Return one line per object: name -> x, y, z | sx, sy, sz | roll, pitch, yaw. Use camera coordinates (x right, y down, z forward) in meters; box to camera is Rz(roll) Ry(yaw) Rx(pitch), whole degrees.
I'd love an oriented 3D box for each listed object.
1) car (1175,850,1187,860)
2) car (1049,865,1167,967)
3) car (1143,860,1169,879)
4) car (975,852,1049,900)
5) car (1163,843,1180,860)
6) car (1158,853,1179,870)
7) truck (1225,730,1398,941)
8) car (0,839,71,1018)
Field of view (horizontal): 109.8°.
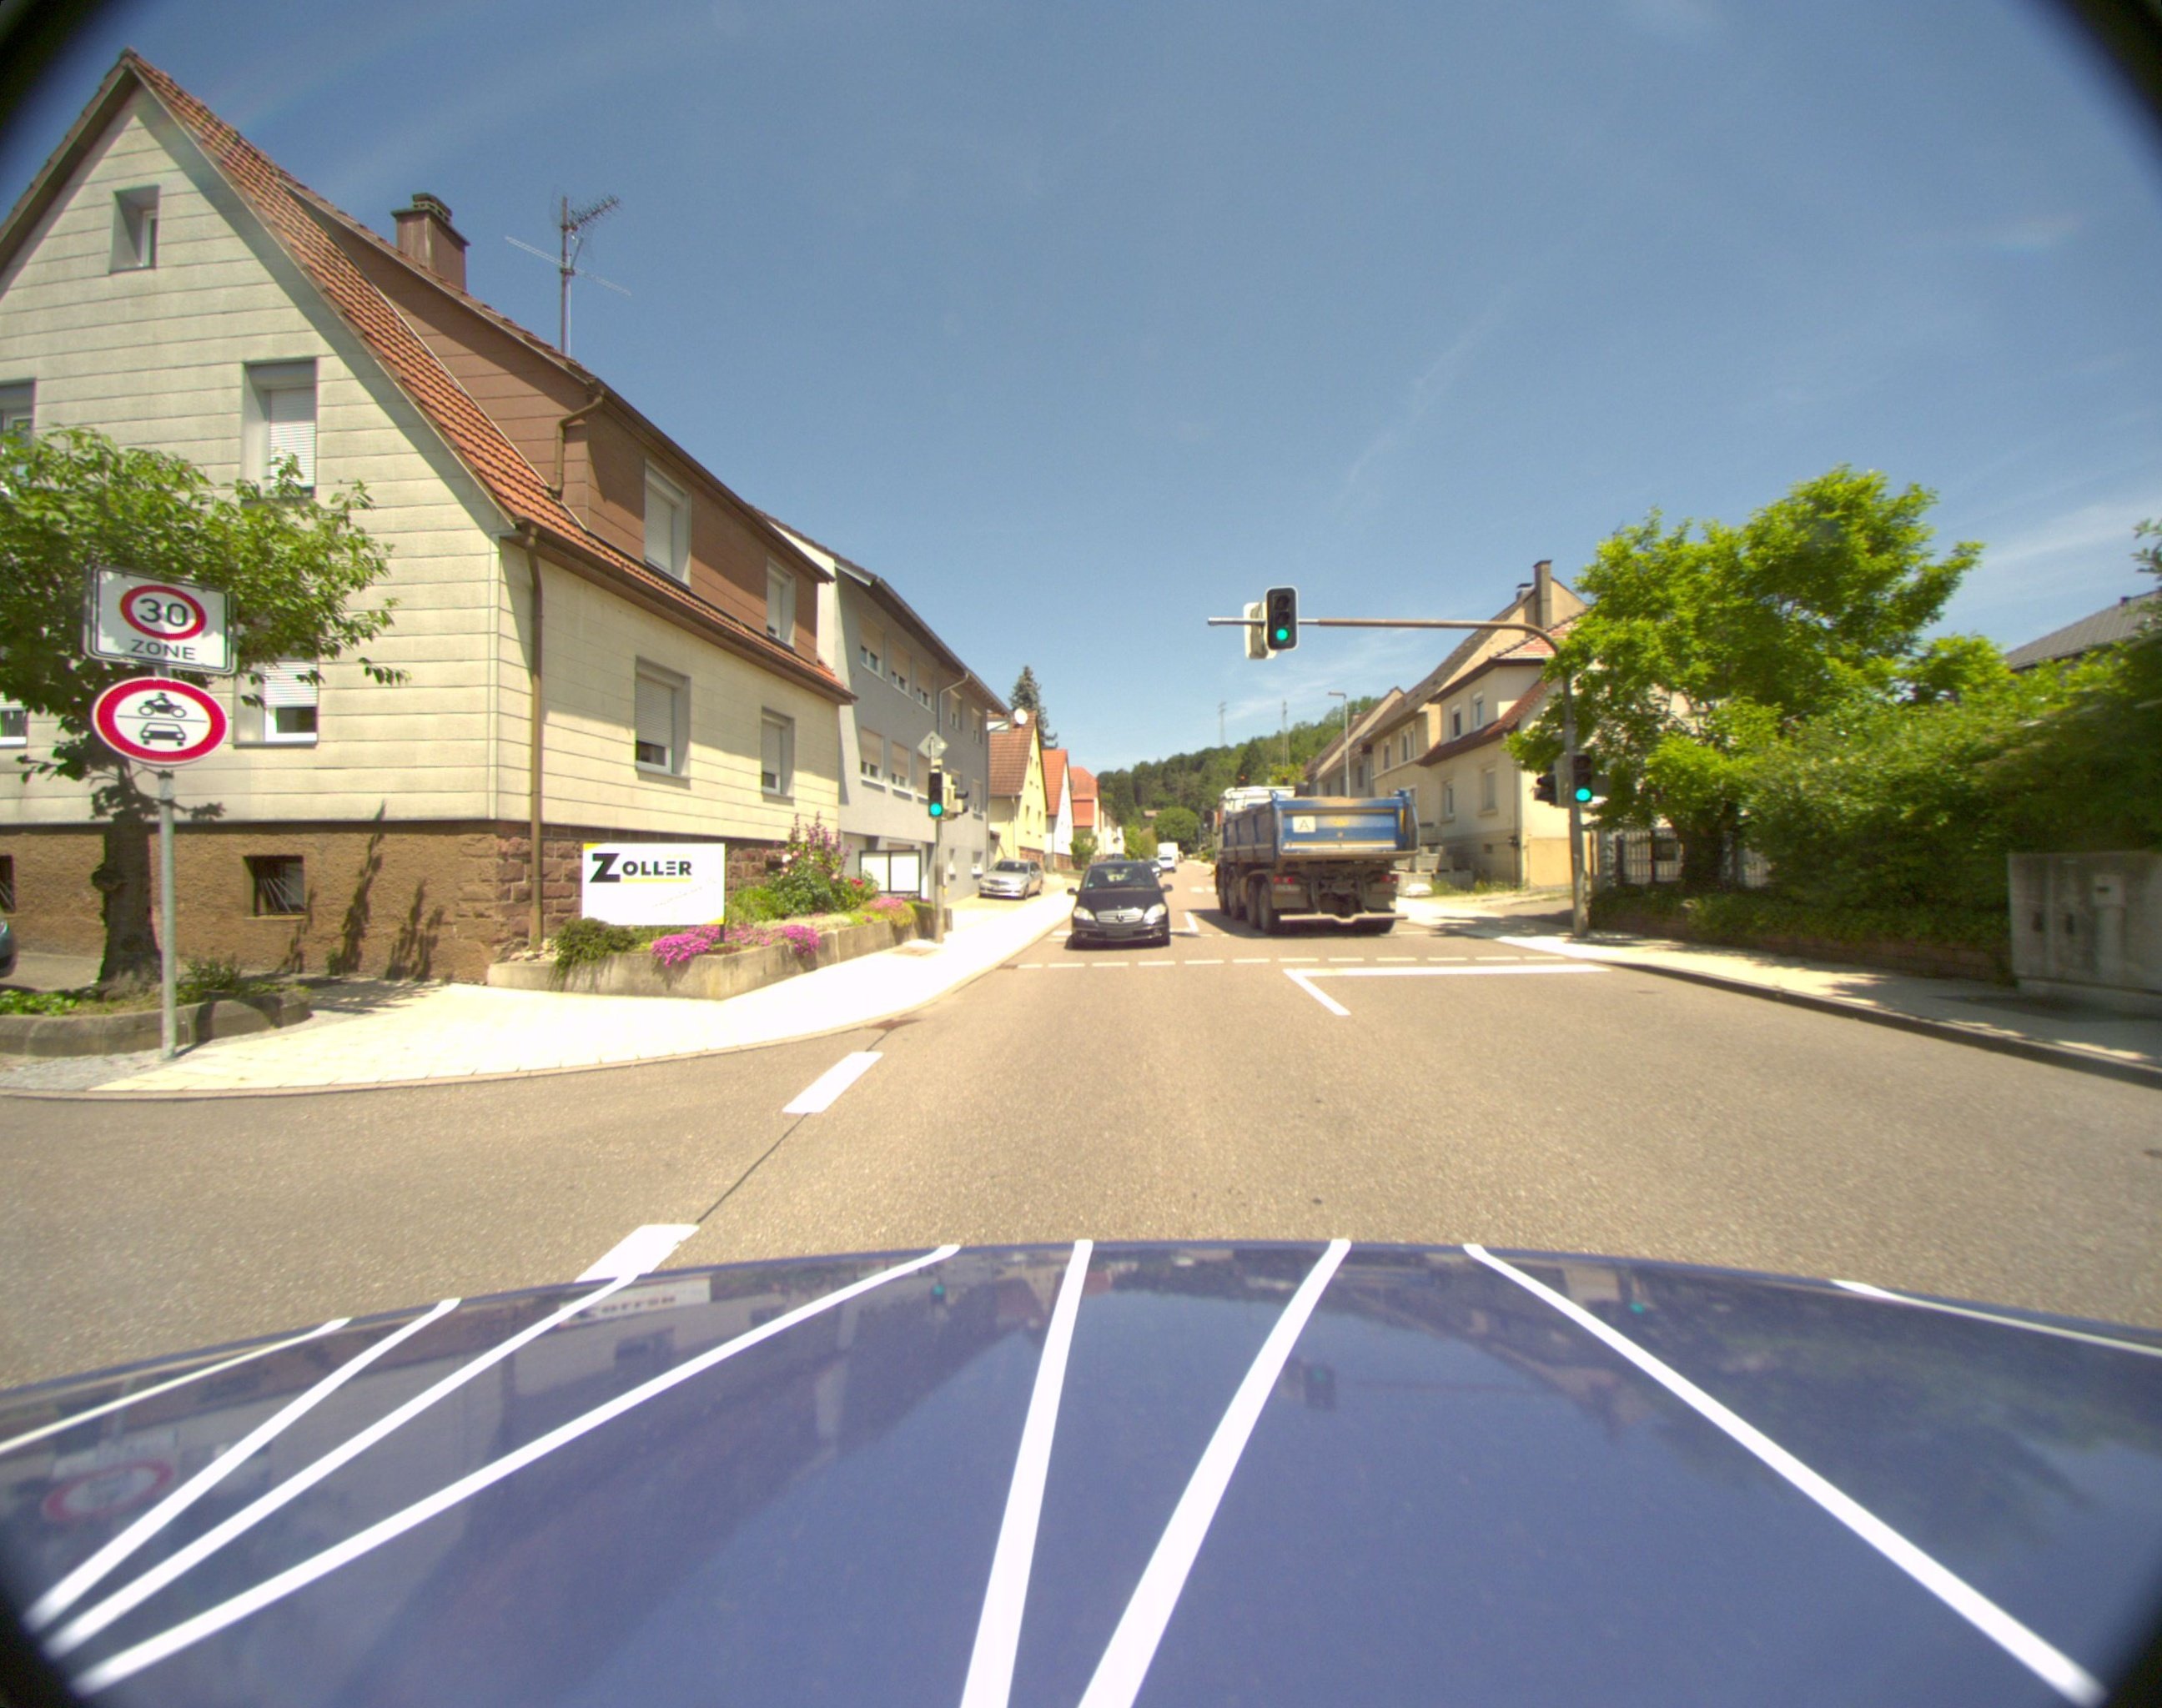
car -> 21.556, 0.135, 163.783 | 2.370, 1.989, 5.175 | -2, 0, 9
car -> 0.701, 1.036, 14.701 | 1.766, 1.571, 4.934 | -2, -1, 7
car -> 6.220, 1.261, 63.399 | 1.998, 1.477, 4.224 | -3, 0, 5
car -> -2.592, 0.792, 29.597 | 1.866, 1.612, 4.510 | 2, 1, 7
car -> 12.466, -0.350, 104.228 | 1.985, 2.170, 4.002 | -2, 0, 9
car -> 9.127, 0.755, 79.416 | 1.998, 1.716, 4.001 | -3, 0, 5
truck -> 4.914, -0.300, 17.863 | 2.546, 3.716, 8.627 | 0, 0, 8
car -> -10.940, 0.571, 6.163 | 3.521, 1.484, 1.800 | 3, 1, 8
